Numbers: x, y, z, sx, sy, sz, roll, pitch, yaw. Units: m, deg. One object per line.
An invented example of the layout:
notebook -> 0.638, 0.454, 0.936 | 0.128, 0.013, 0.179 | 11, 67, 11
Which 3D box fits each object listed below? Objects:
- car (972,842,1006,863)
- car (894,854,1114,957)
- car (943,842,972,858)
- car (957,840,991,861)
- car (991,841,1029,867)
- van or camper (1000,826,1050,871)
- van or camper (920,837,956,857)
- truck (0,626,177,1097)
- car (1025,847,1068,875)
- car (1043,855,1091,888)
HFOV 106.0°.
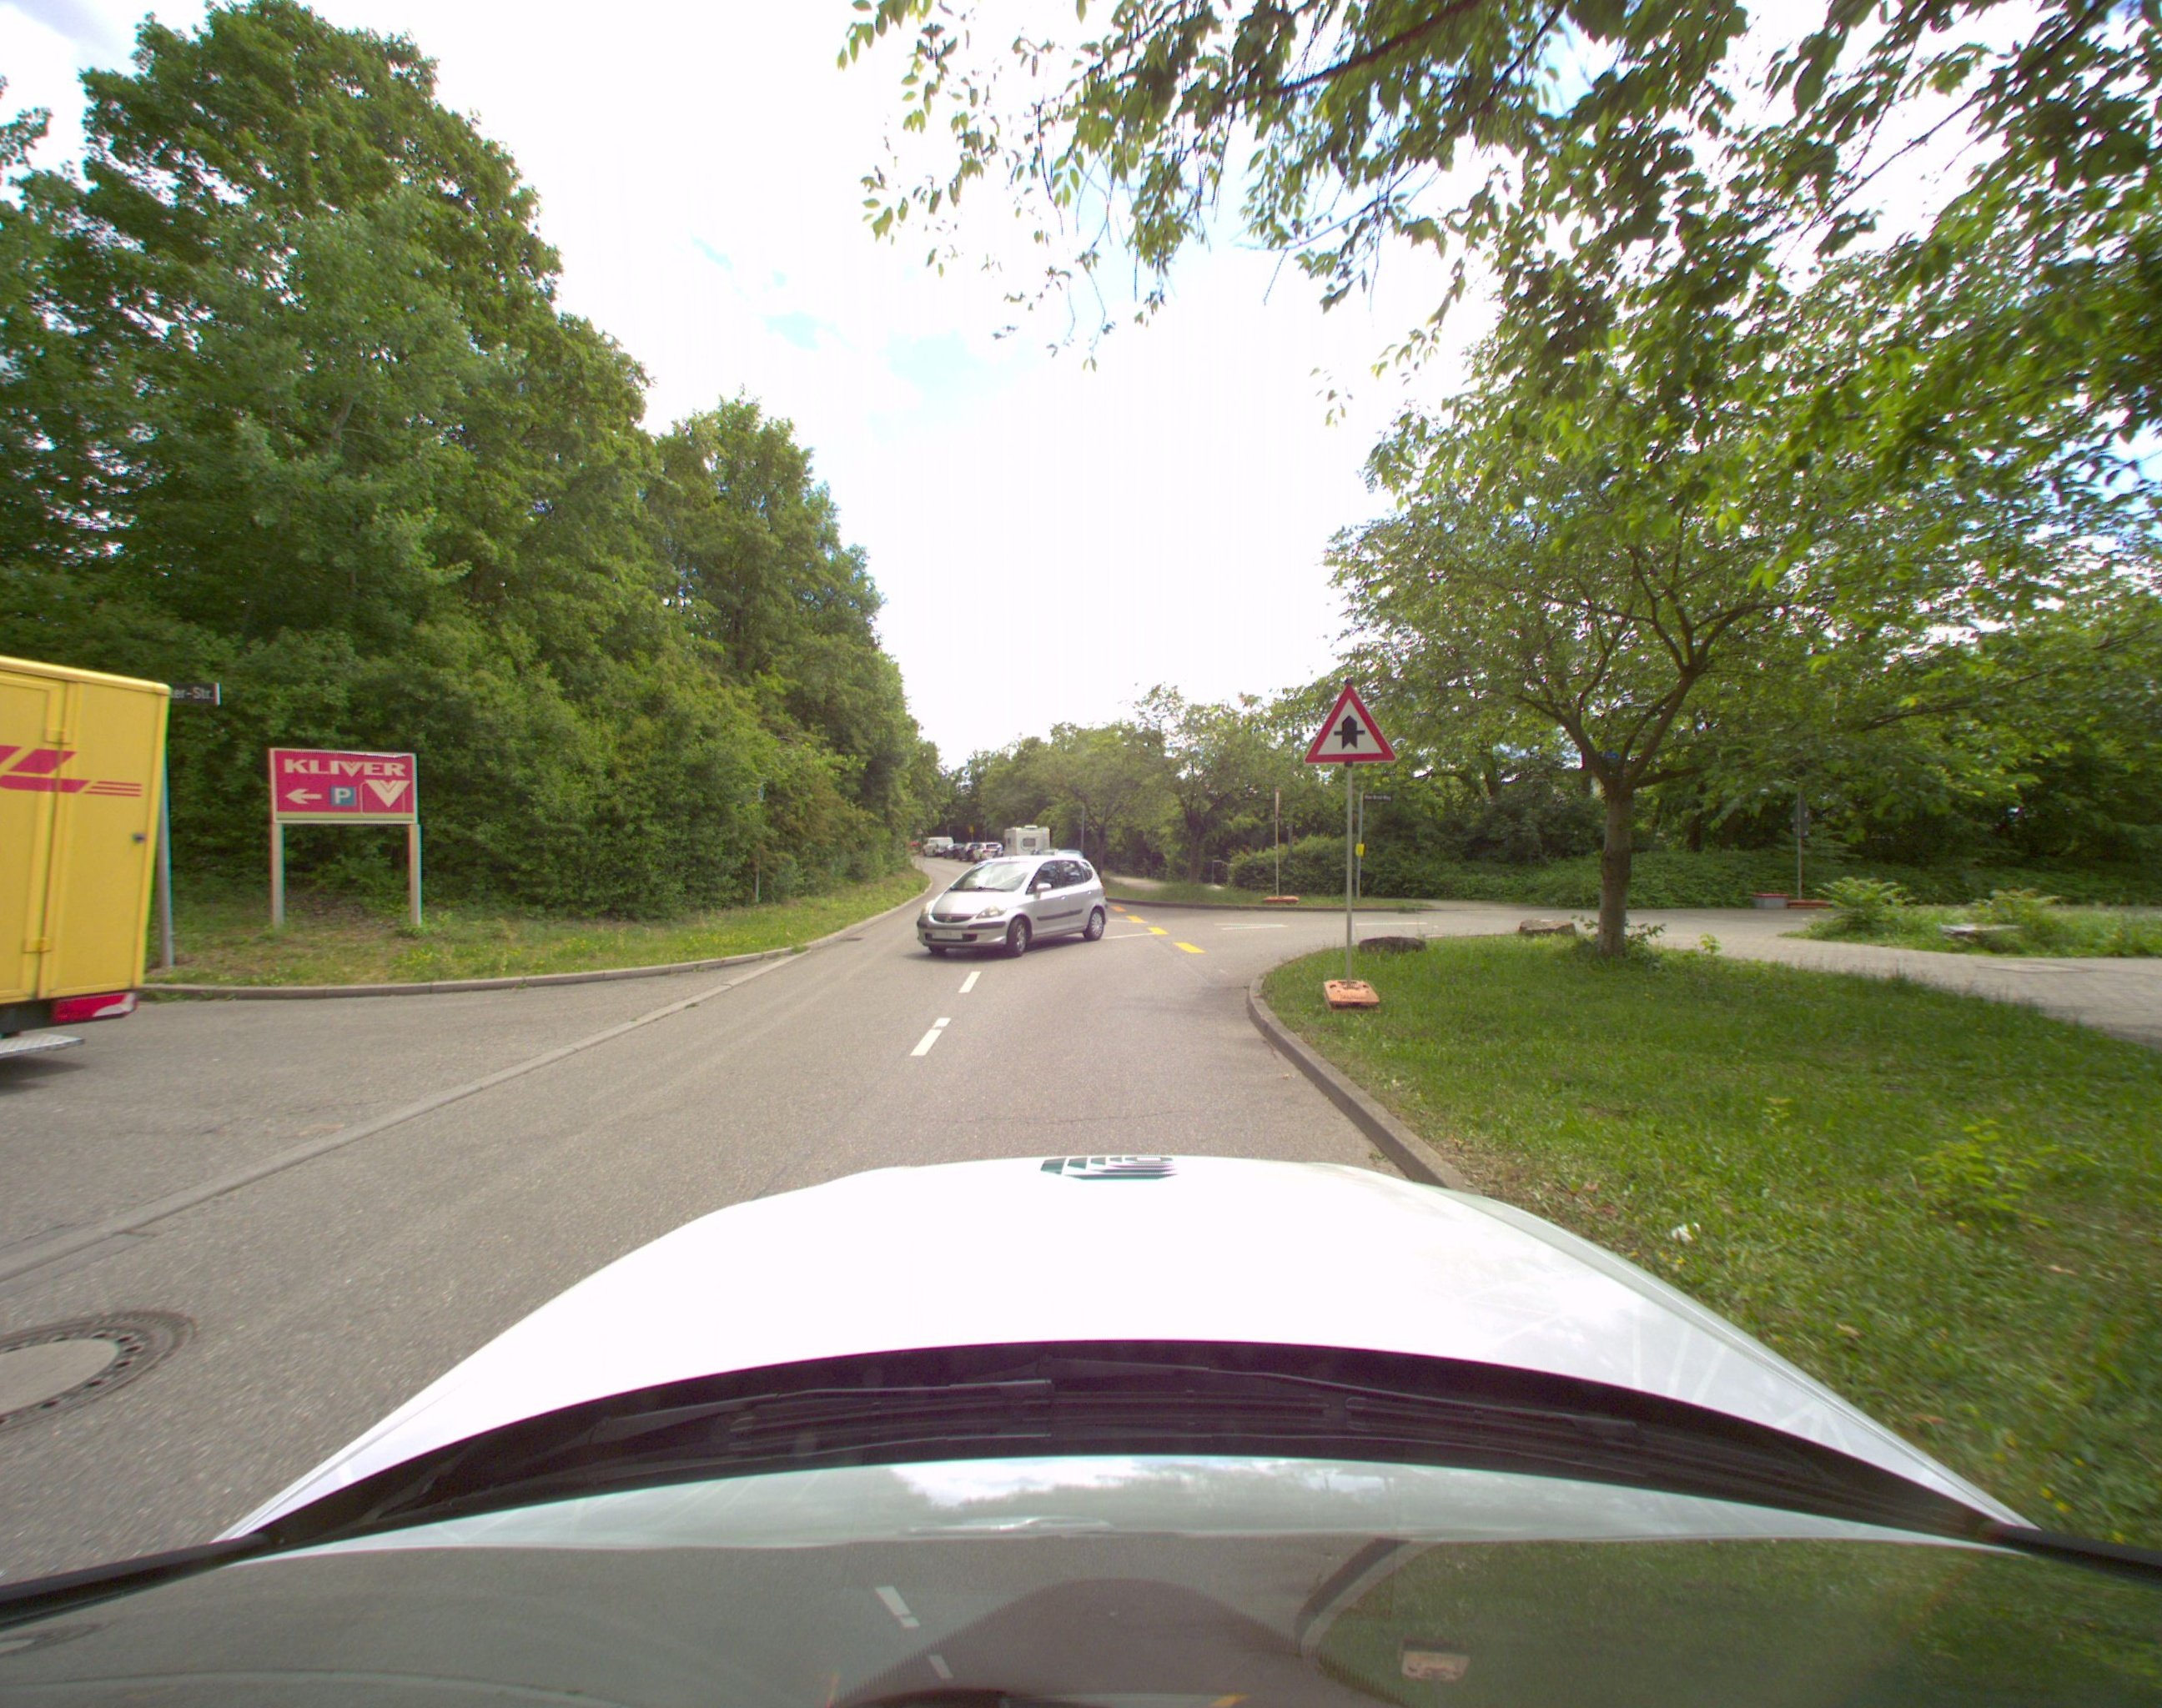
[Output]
car -> -7.653, -0.152, 67.425 | 1.877, 1.689, 4.551 | 0, 1, -18
car -> -1.119, 0.733, 13.480 | 1.823, 1.456, 3.675 | 0, 0, 30
car -> -12.020, -0.381, 79.185 | 1.806, 1.464, 3.968 | -1, 2, -25
car -> -9.622, -0.339, 72.820 | 2.001, 1.626, 4.249 | -4, 3, -21
car -> -5.318, -0.034, 60.620 | 1.716, 1.591, 3.975 | -8, 3, -18
van or camper -> -3.861, -0.403, 54.832 | 2.335, 2.869, 6.122 | 0, 1, -14
van or camper -> -14.860, -0.782, 84.414 | 2.005, 1.919, 5.218 | -3, 3, -28
truck -> -9.668, -0.216, 5.087 | 6.508, 2.808, 2.240 | 5, 1, 11
car -> -2.066, 0.399, 47.339 | 1.731, 1.519, 3.871 | -2, 0, -14
car -> -0.741, 0.809, 40.316 | 1.776, 1.434, 4.320 | -2, 1, -9
